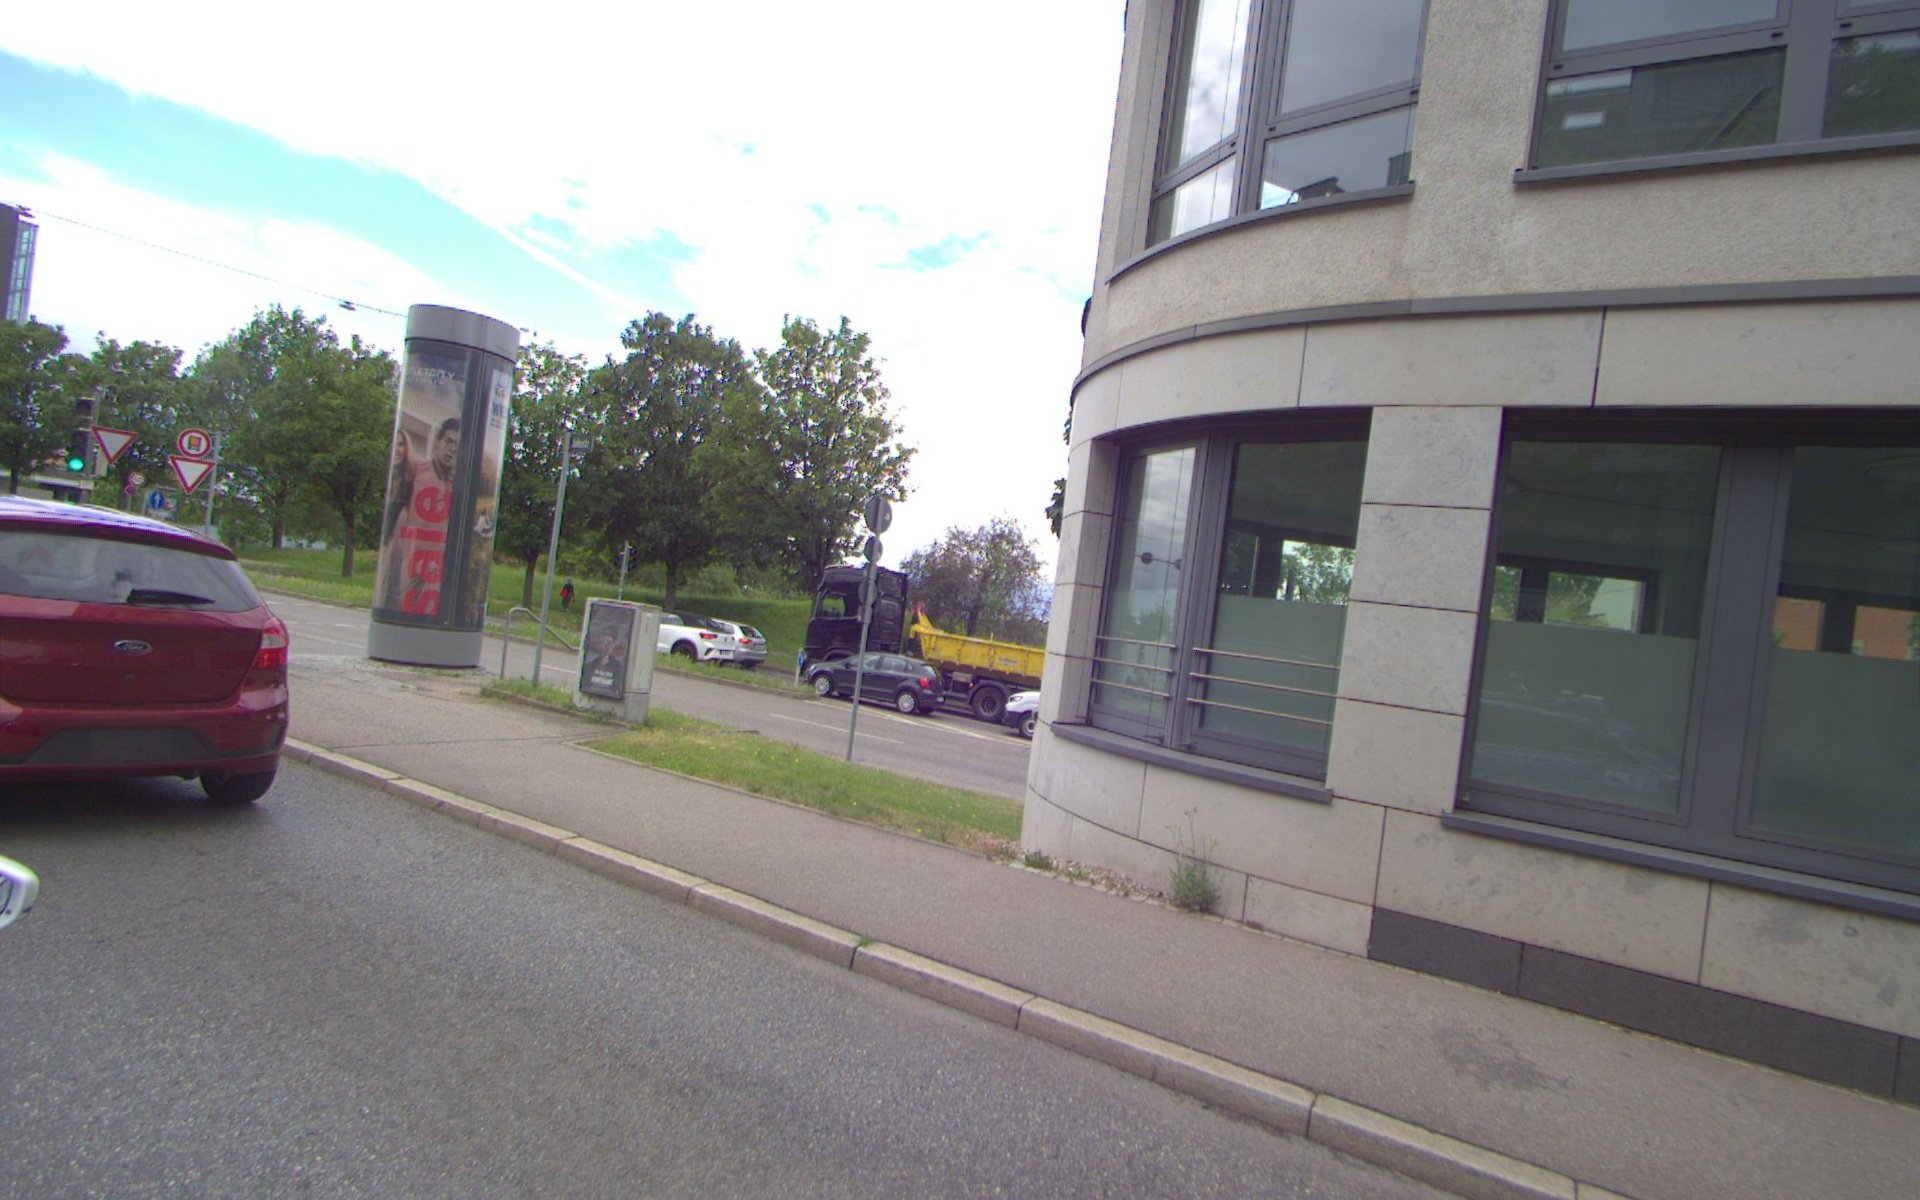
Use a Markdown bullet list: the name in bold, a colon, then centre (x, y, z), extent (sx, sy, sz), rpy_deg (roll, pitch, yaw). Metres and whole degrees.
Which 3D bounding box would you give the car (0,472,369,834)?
- **car**: centre (-5.251, 0.101, 5.578), extent (3.656, 1.498, 1.749), rpy_deg (7, -2, 31)

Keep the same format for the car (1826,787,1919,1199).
- **car**: centre (3.427, 1.263, 0.385), extent (4.367, 1.434, 1.878), rpy_deg (7, -2, 30)

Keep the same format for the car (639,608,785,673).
- **car**: centre (-8.088, 1.327, 32.893), extent (4.081, 1.458, 1.992), rpy_deg (8, -2, 19)

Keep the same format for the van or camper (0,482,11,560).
- **van or camper**: centre (-23.293, -1.921, 22.696), extent (1.984, 1.940, 4.365), rpy_deg (9, -1, -36)

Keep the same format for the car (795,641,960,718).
- **car**: centre (-2.184, 2.113, 26.873), extent (3.903, 1.389, 1.656), rpy_deg (8, -2, 19)

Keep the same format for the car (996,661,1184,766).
- **car**: centre (3.251, 2.764, 24.997), extent (4.206, 1.817, 1.758), rpy_deg (9, -2, 17)

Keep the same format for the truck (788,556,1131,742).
- **truck**: centre (-0.038, 1.362, 29.718), extent (9.280, 3.969, 2.832), rpy_deg (8, -2, 18)

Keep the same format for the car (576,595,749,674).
- **car**: centre (-8.666, 1.008, 29.332), extent (4.404, 1.547, 1.858), rpy_deg (9, -2, 19)

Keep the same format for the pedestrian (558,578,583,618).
- **pedestrian**: centre (-16.335, -0.082, 42.142), extent (0.690, 1.626, 0.541), rpy_deg (9, 5, 29)
